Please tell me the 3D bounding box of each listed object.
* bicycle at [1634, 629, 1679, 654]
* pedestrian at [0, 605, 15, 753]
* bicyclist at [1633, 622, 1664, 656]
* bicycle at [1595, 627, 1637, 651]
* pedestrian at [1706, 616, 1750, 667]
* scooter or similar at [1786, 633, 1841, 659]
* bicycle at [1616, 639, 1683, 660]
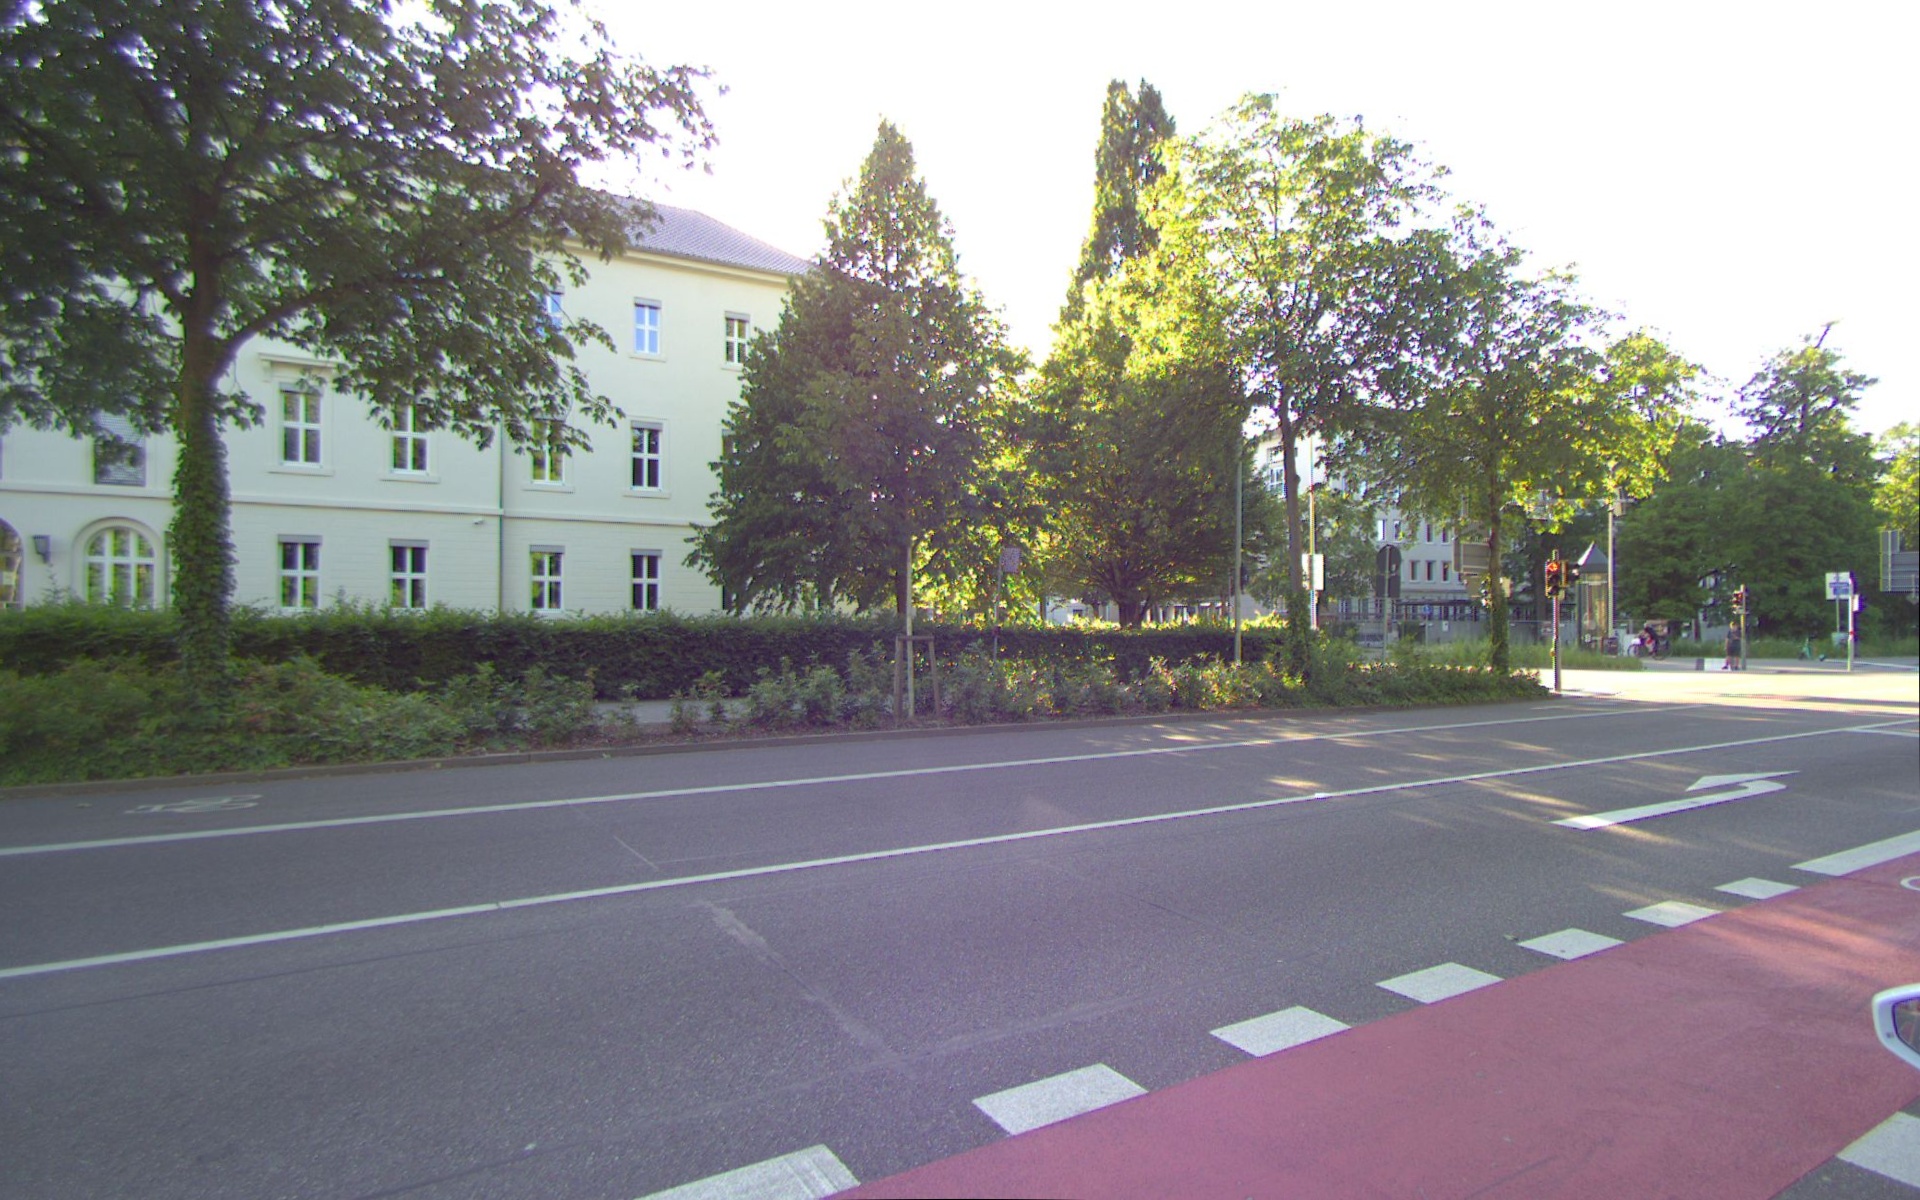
[{"bbox_3d":[34.777,2.052,50.155,0.288,1.163,1.849,1,-1,-36],"label":"bicycle"},{"bbox_3d":[-11.995,0.941,11.964,0.959,1.743,0.828,1,-2,-38],"label":"pedestrian"},{"bbox_3d":[33.412,1.894,48.755,0.867,1.627,0.970,1,-2,-29],"label":"bicyclist"},{"bbox_3d":[34.041,2.000,52.150,0.437,1.163,1.855,1,-1,-26],"label":"bicycle"},{"bbox_3d":[31.820,1.706,41.630,1.175,2.040,0.992,1,0,-25],"label":"pedestrian"},{"bbox_3d":[39.465,2.120,46.465,1.882,1.139,0.713,1,0,3],"label":"scooter or similar"},{"bbox_3d":[33.419,2.399,48.742,0.574,1.002,2.694,1,-2,-29],"label":"bicycle"}]
